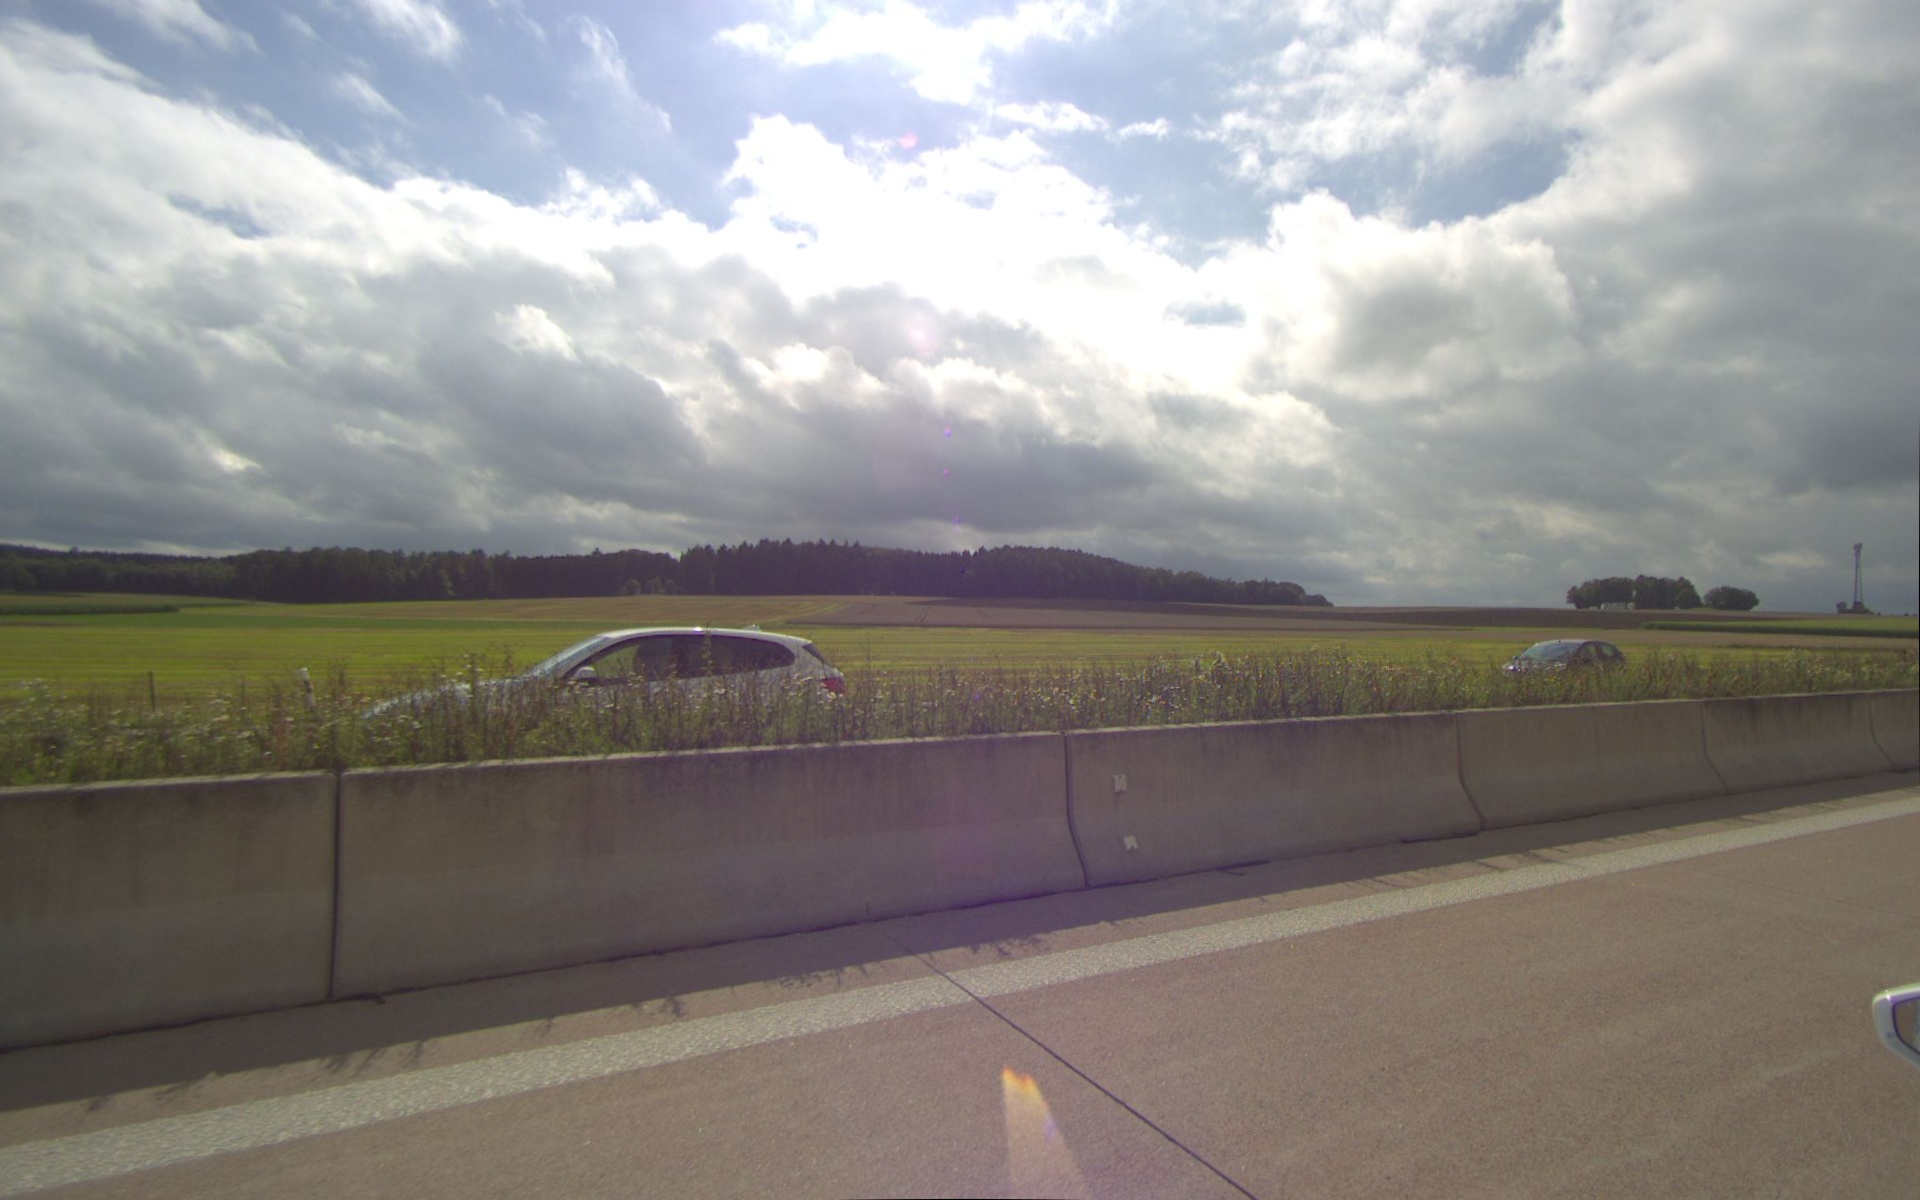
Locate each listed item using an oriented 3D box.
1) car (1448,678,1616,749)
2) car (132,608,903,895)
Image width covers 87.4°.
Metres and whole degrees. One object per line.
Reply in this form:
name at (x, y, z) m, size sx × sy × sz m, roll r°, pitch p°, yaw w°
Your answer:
car at (13.952, 2.711, 24.475) m, size 3.952 × 1.483 × 1.775 m, roll 1°, pitch -3°, yaw -29°
car at (-3.548, 1.126, 9.132) m, size 5.815 × 1.934 × 1.985 m, roll 2°, pitch -3°, yaw -30°
